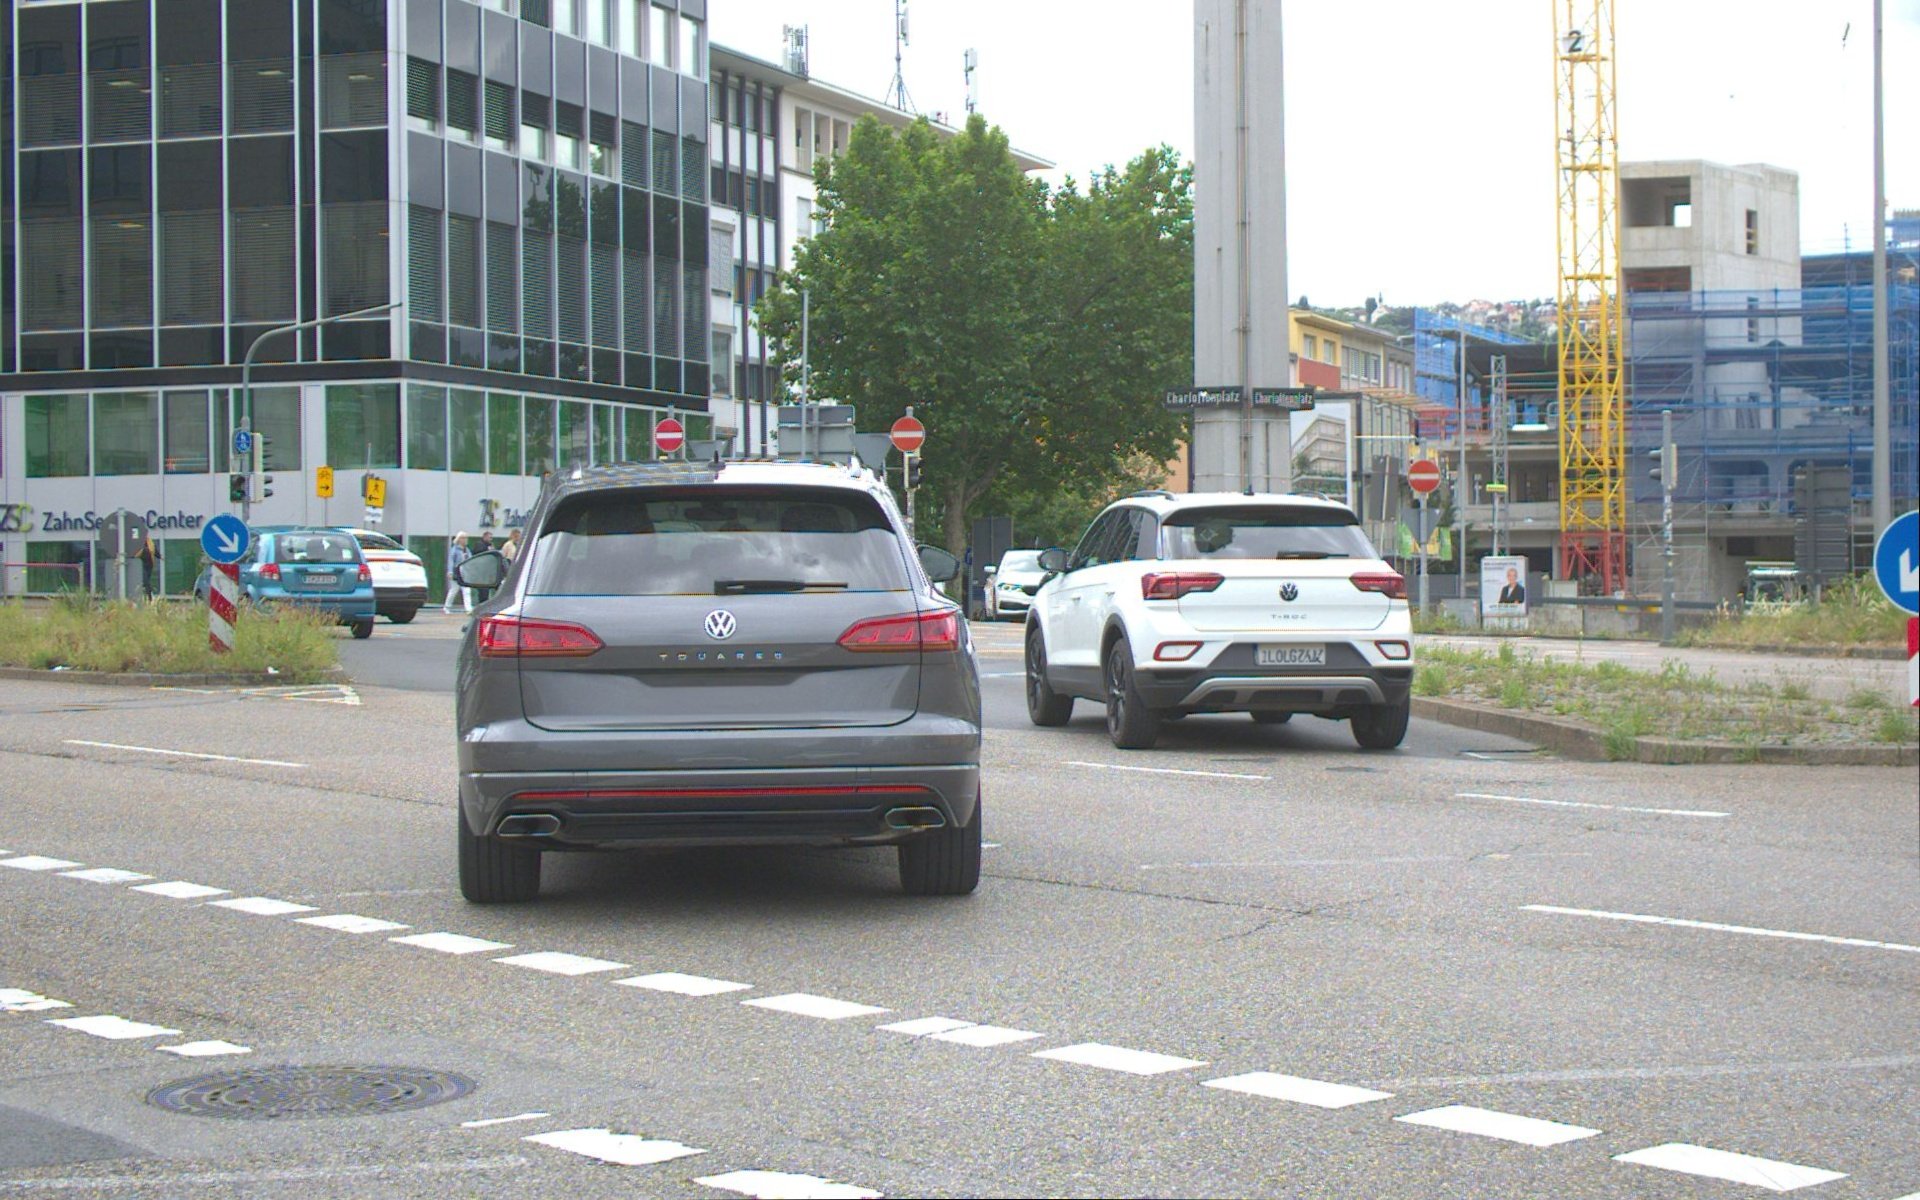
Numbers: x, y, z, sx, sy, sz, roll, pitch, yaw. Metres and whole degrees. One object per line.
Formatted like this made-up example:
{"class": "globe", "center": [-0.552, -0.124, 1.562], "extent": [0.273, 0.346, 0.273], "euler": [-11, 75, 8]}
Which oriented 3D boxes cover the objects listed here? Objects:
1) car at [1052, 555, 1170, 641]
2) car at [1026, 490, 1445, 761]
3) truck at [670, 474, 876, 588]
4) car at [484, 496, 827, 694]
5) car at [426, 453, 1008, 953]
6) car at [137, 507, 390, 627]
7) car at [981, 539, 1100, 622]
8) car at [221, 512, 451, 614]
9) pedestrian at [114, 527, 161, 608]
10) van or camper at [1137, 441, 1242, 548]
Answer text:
{"class": "car", "center": [2.410, -0.054, 55.508], "extent": [1.671, 1.260, 4.058], "euler": [0, 2, -1]}
{"class": "car", "center": [1.625, 0.085, 21.689], "extent": [1.797, 1.540, 3.937], "euler": [0, 2, -8]}
{"class": "truck", "center": [-5.228, -1.913, 97.970], "extent": [2.341, 3.053, 8.189], "euler": [1, 0, 24]}
{"class": "car", "center": [-2.337, -0.052, 27.444], "extent": [1.834, 1.391, 4.146], "euler": [2, 1, 7]}
{"class": "car", "center": [-1.017, 0.284, 13.801], "extent": [1.970, 1.690, 4.225], "euler": [0, 2, -5]}
{"class": "car", "center": [-9.216, -0.467, 45.332], "extent": [1.832, 1.512, 3.766], "euler": [-1, 2, -37]}
{"class": "car", "center": [1.491, -0.360, 65.624], "extent": [1.993, 1.499, 5.040], "euler": [1, 0, -2]}
{"class": "car", "center": [-9.732, -0.599, 53.443], "extent": [1.833, 1.512, 3.765], "euler": [-1, 2, -41]}
{"class": "pedestrian", "center": [-17.494, -0.701, 73.112], "extent": [0.800, 1.692, 0.547], "euler": [1, 2, 19]}
{"class": "van or camper", "center": [5.537, -2.535, 82.306], "extent": [2.140, 2.468, 6.160], "euler": [0, 2, 7]}
